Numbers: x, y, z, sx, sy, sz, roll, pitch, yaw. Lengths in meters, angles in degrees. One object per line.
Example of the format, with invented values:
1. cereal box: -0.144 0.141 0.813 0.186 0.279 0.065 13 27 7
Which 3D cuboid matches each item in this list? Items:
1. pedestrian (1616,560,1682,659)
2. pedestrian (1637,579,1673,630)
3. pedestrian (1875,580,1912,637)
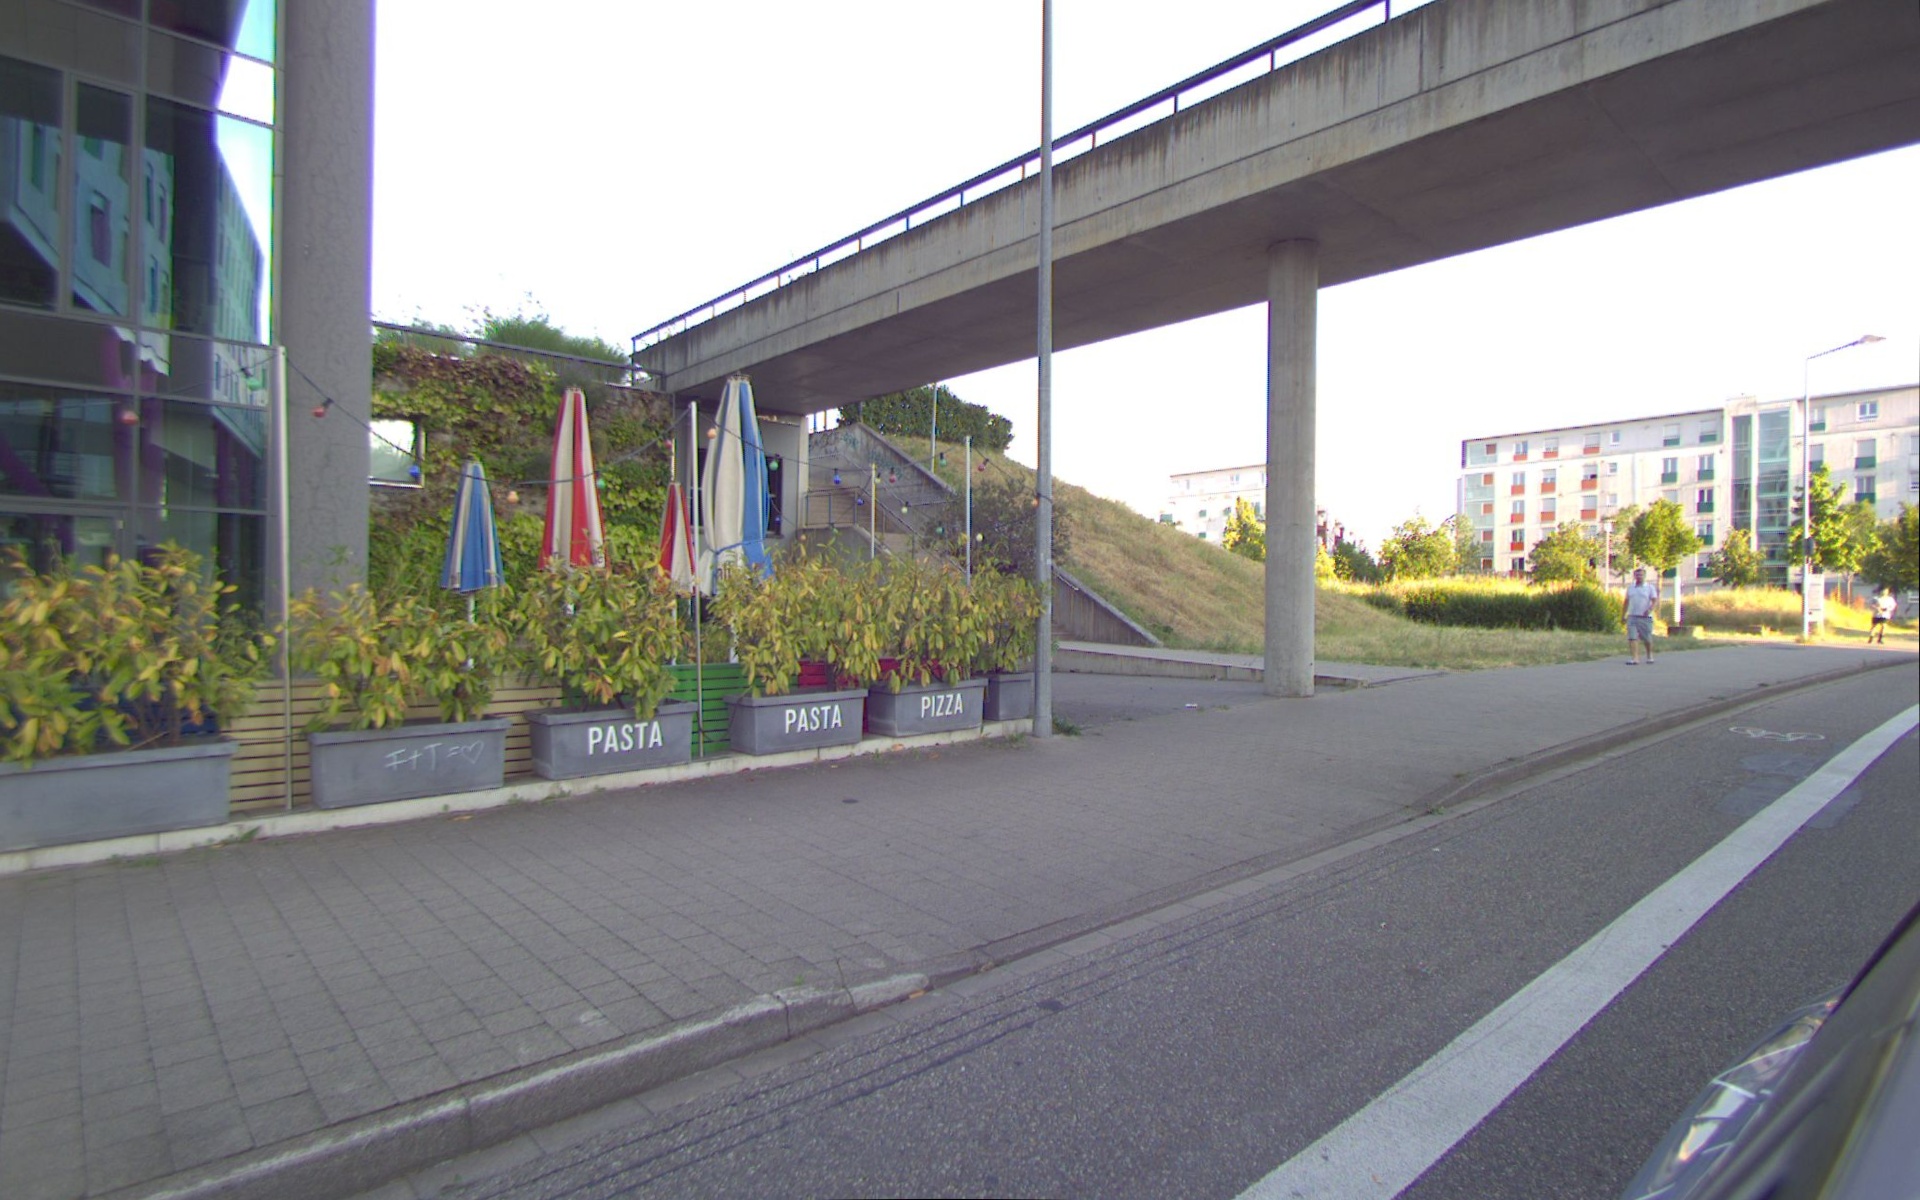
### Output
1. pedestrian: 12.612 0.158 18.525 0.890 1.745 0.737 1 2 -40
2. pedestrian: 23.270 0.141 33.899 0.844 1.650 0.737 1 2 -40
3. pedestrian: 29.617 0.254 32.113 0.523 1.745 0.737 1 2 -40
